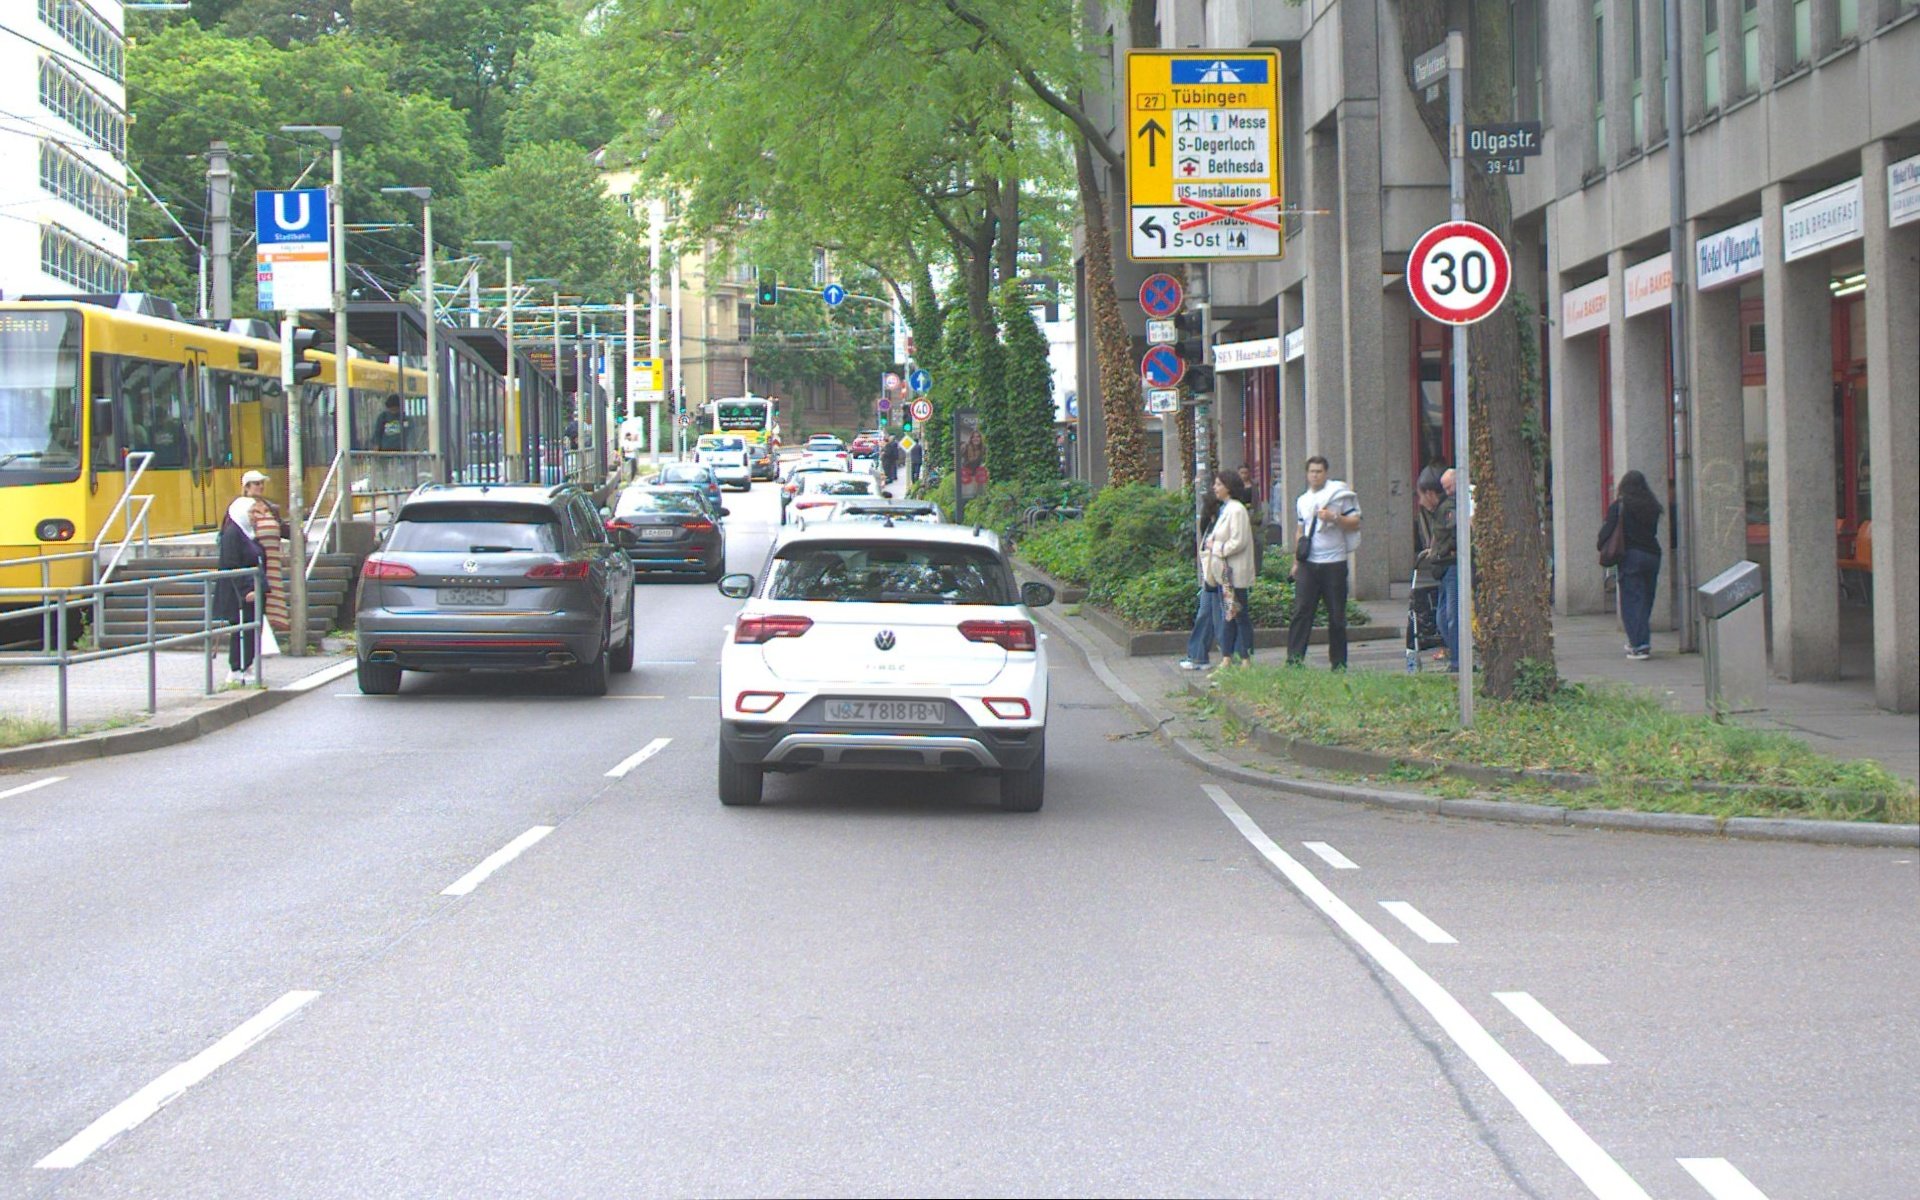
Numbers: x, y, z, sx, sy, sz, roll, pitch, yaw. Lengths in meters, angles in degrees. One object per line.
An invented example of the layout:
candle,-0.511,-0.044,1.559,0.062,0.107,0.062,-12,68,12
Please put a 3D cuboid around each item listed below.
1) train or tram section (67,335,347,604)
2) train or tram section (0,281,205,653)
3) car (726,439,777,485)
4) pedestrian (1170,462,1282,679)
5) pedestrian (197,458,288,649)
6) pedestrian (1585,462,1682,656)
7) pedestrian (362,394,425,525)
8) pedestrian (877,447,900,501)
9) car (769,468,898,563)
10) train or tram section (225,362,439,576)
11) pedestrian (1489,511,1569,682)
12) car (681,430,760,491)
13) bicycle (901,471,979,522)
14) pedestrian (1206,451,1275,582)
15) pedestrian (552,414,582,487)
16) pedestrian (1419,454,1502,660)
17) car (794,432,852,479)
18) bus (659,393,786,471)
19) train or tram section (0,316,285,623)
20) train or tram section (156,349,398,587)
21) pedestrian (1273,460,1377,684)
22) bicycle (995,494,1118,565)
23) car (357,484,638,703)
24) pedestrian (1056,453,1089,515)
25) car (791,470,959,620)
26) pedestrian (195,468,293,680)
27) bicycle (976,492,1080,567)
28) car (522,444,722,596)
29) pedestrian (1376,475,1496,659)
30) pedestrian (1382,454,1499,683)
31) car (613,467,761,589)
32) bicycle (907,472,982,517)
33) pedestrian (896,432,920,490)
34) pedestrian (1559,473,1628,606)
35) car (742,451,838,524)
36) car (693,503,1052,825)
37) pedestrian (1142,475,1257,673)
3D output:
train or tram section,-10.474,-1.826,48.351,2.835,3.508,5.753,1,2,-2
train or tram section,-10.062,-1.426,36.840,2.835,3.666,5.753,1,2,-2
car,-8.113,-5.380,134.018,1.884,1.678,4.162,1,1,-2
pedestrian,2.258,-0.257,29.221,0.693,1.771,0.690,-5,2,-6
pedestrian,-6.477,-0.425,31.055,0.685,1.705,0.712,0,2,-3
pedestrian,5.742,-0.354,29.330,0.762,1.606,0.618,-1,4,9
pedestrian,-7.600,-1.878,46.153,0.717,1.725,0.671,1,1,-1
pedestrian,-2.652,-4.674,127.622,0.762,2.007,0.838,1,1,3
car,-2.396,-1.561,64.120,1.884,1.678,4.162,1,1,-9
train or tram section,-10.853,-2.265,59.882,2.835,3.508,5.753,1,2,-2
pedestrian,4.476,-0.033,27.068,0.471,1.329,0.520,1,1,-6
car,-8.501,-4.946,122.280,2.365,2.007,5.148,1,1,1
bicycle,-0.506,-2.625,87.000,1.881,1.262,0.764,1,1,9
pedestrian,3.943,-1.175,48.299,0.762,1.776,0.848,-2,4,-7
pedestrian,-11.007,-4.174,96.236,0.762,2.007,0.838,1,1,-9
pedestrian,4.401,-0.382,30.253,0.518,1.783,0.764,1,1,-6
car,-5.358,-5.611,133.941,1.884,1.678,4.162,1,1,-7
bus,-10.813,-7.487,154.647,3.371,3.054,13.329,1,1,-14
train or tram section,-10.271,-1.605,42.602,2.835,3.508,5.753,1,2,-2
train or tram section,-10.653,-2.061,54.128,2.835,3.508,5.753,1,2,-2
pedestrian,3.078,-0.244,29.059,0.733,1.868,0.733,0,1,-6
bicycle,1.584,-1.157,56.324,1.915,1.073,0.613,-2,2,-5
car,-3.729,-0.114,28.344,1.993,1.630,4.001,0,3,-3
pedestrian,2.933,-3.029,89.782,0.635,1.602,0.588,0,1,-23
car,-1.065,-0.666,41.149,1.884,1.678,4.162,1,1,-3
pedestrian,-5.831,-0.226,28.021,0.635,1.705,0.872,0,2,-3
bicycle,1.092,-1.130,55.086,1.620,1.124,0.613,-2,2,2
car,-4.710,-1.116,48.714,2.364,2.007,5.148,1,1,-1
pedestrian,4.104,-0.290,29.689,0.835,1.557,0.764,1,1,-6
pedestrian,3.922,-0.271,28.094,0.721,1.796,0.835,-2,4,-6
car,-4.069,-1.119,51.744,1.912,1.683,4.001,1,3,-1
bicycle,-0.392,-2.710,88.635,1.881,1.133,0.808,1,1,4
pedestrian,-1.797,-4.824,119.370,0.762,2.007,0.838,1,1,3
pedestrian,8.297,-0.797,45.027,0.762,1.717,0.677,-1,3,0
car,-4.980,-3.252,100.029,2.364,2.007,5.149,1,1,-7
car,-0.421,0.275,19.886,1.837,1.578,4.157,1,2,1
pedestrian,2.116,-0.238,30.441,0.835,1.698,0.764,-2,2,-6
